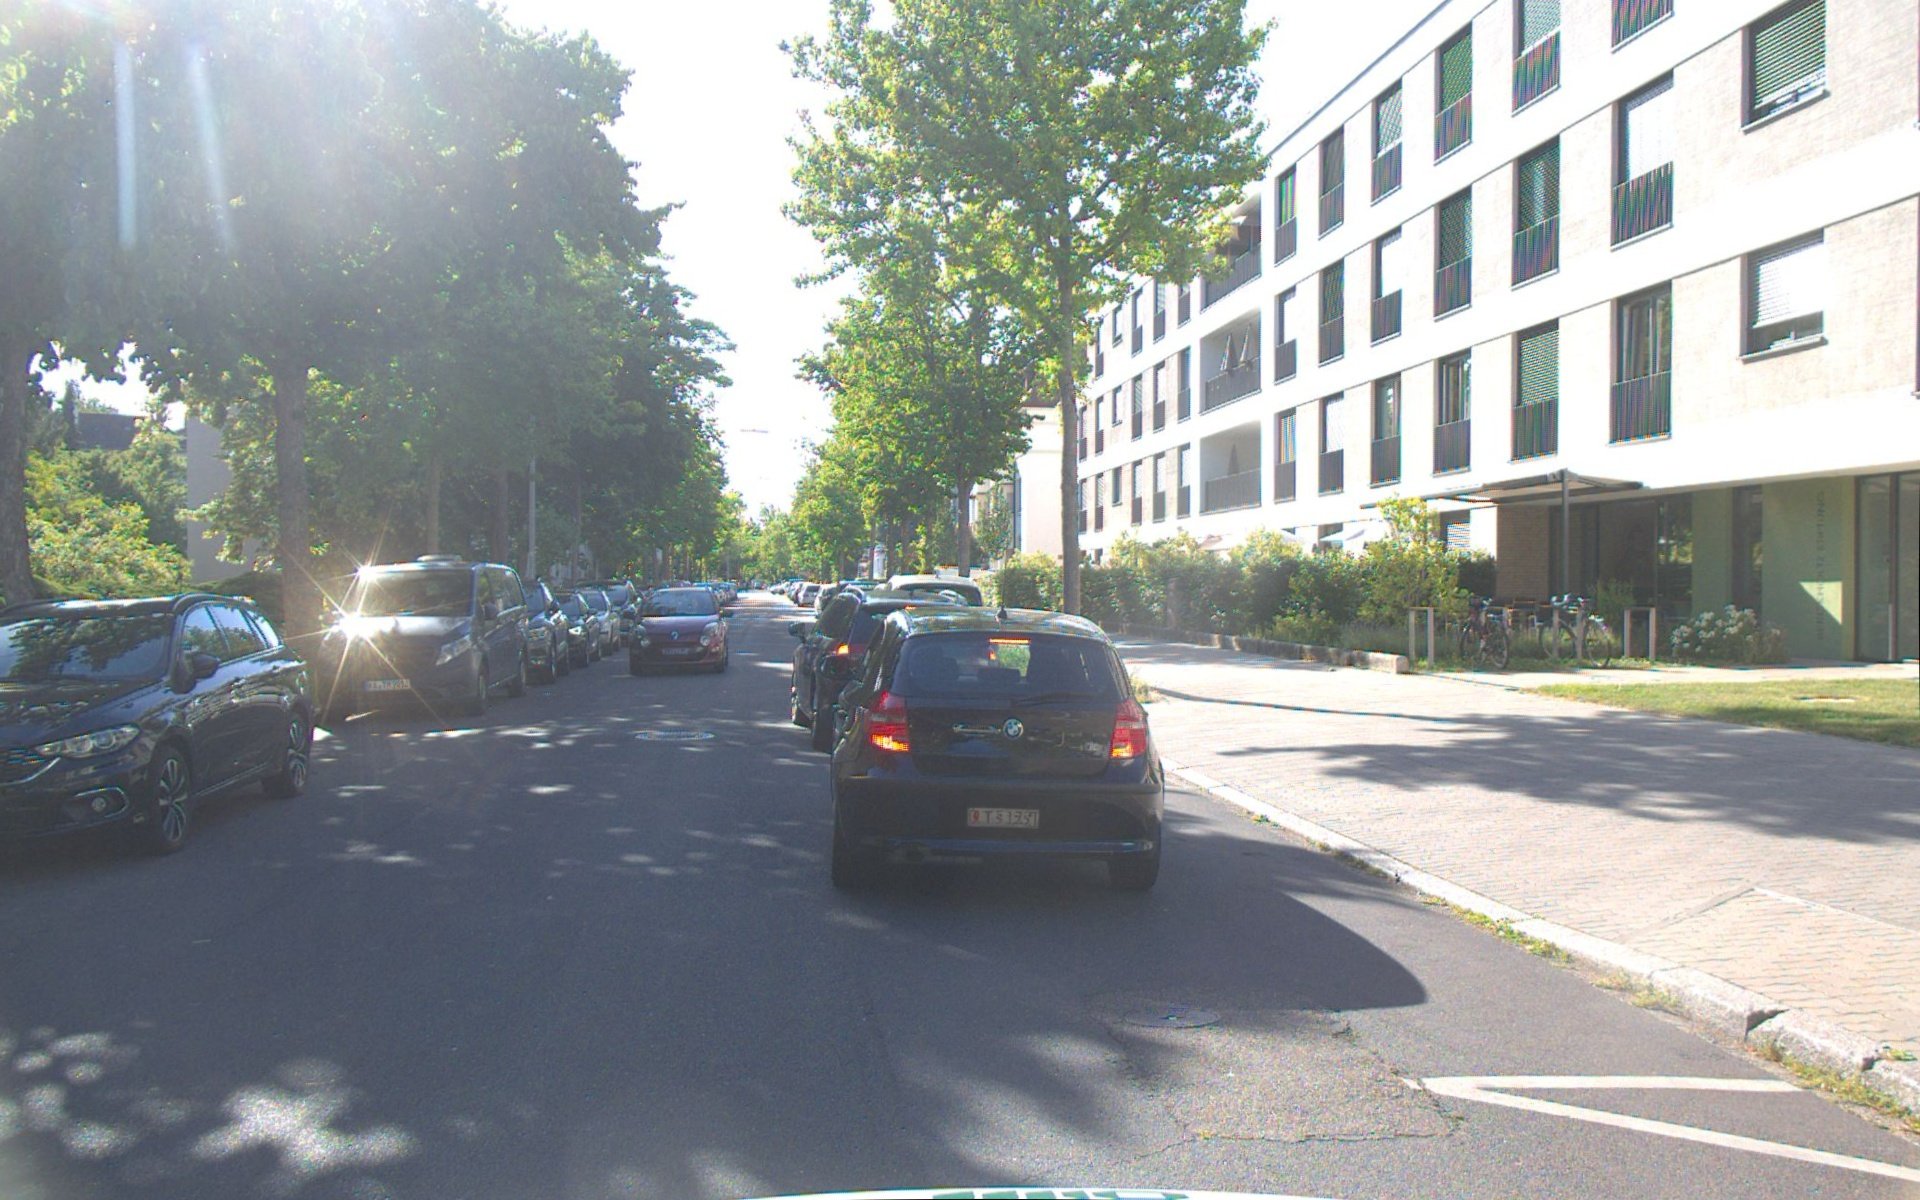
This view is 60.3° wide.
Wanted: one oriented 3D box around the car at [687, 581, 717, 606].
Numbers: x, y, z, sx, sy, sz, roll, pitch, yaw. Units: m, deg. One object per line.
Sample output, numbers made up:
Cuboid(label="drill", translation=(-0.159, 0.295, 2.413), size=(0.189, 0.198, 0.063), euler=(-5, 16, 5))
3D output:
Cuboid(label="car", translation=(-15.371, -0.426, 98.624), size=(1.582, 1.416, 3.859), euler=(-1, 1, -7))

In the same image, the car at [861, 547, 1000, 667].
Cuboid(label="car", translation=(-0.536, 0.104, 25.296), size=(1.812, 1.659, 4.406), euler=(1, 0, -5))

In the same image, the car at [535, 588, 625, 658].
Cuboid(label="car", translation=(-8.515, 0.470, 37.335), size=(1.582, 1.452, 3.720), euler=(-1, 1, -7))

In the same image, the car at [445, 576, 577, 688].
Cuboid(label="car", translation=(-7.252, 0.454, 27.024), size=(1.582, 1.639, 4.221), euler=(-1, 1, -9))

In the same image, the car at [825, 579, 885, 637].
Cuboid(label="car", translation=(-3.300, 0.211, 51.252), size=(1.687, 1.669, 3.847), euler=(2, 0, -6))

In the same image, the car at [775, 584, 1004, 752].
Cuboid(label="car", translation=(-0.835, 0.578, 16.682), size=(1.621, 1.450, 3.988), euler=(-1, 1, -13))

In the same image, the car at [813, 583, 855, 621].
Cuboid(label="car", translation=(-5.430, 0.068, 71.017), size=(1.687, 1.506, 3.847), euler=(2, 0, -6))

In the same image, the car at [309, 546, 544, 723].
Cuboid(label="car", translation=(-6.681, 0.360, 21.310), size=(1.791, 1.937, 5.135), euler=(-2, 1, -6))

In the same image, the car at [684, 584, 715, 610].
Cuboid(label="car", translation=(-14.691, -0.181, 93.251), size=(1.582, 1.416, 3.859), euler=(-1, 1, -7))

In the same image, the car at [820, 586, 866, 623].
Cuboid(label="car", translation=(-4.715, 0.164, 66.288), size=(1.687, 1.403, 3.847), euler=(2, 0, -6))

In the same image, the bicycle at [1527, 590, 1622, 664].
Cuboid(label="bicycle", translation=(9.310, 0.393, 25.131), size=(0.536, 1.073, 1.776), euler=(-1, 1, -9))

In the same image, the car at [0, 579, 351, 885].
Cuboid(label="car", translation=(-5.440, 0.691, 11.012), size=(1.479, 1.575, 4.771), euler=(-3, 1, -7))

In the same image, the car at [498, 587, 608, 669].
Cuboid(label="car", translation=(-7.880, 0.500, 32.288), size=(1.582, 1.452, 4.051), euler=(-1, 1, -7))

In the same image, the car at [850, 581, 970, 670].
Cuboid(label="car", translation=(-1.001, 0.429, 30.966), size=(1.663, 1.550, 3.990), euler=(0, 0, -10))

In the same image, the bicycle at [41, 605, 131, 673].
Cuboid(label="bicycle", translation=(-13.854, 0.596, 26.282), size=(0.583, 1.009, 1.925), euler=(-1, 1, -6))

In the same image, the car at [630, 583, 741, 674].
Cuboid(label="car", translation=(-4.731, 0.453, 28.836), size=(1.475, 1.451, 3.176), euler=(-1, 1, -2))

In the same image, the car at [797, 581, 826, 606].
Cuboid(label="car", translation=(-9.504, -0.419, 106.025), size=(1.687, 1.506, 3.848), euler=(-1, 1, -4))

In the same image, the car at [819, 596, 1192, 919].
Cuboid(label="car", translation=(0.080, 0.720, 9.393), size=(1.618, 1.421, 3.406), euler=(-1, 1, -7))

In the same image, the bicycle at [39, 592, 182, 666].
Cuboid(label="bicycle", translation=(-14.890, 0.491, 29.043), size=(2.112, 1.230, 0.687), euler=(-1, 1, -18))

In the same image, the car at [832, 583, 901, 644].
Cuboid(label="car", translation=(-2.593, 0.328, 45.295), size=(1.687, 1.555, 3.995), euler=(2, 0, -6))

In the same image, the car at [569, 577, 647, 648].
Cuboid(label="car", translation=(-9.053, 0.284, 42.742), size=(1.582, 1.708, 4.227), euler=(-1, 1, -7))

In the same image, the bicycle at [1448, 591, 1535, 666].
Cuboid(label="bicycle", translation=(7.987, 0.410, 24.927), size=(0.536, 1.073, 1.688), euler=(-1, 1, -9))
